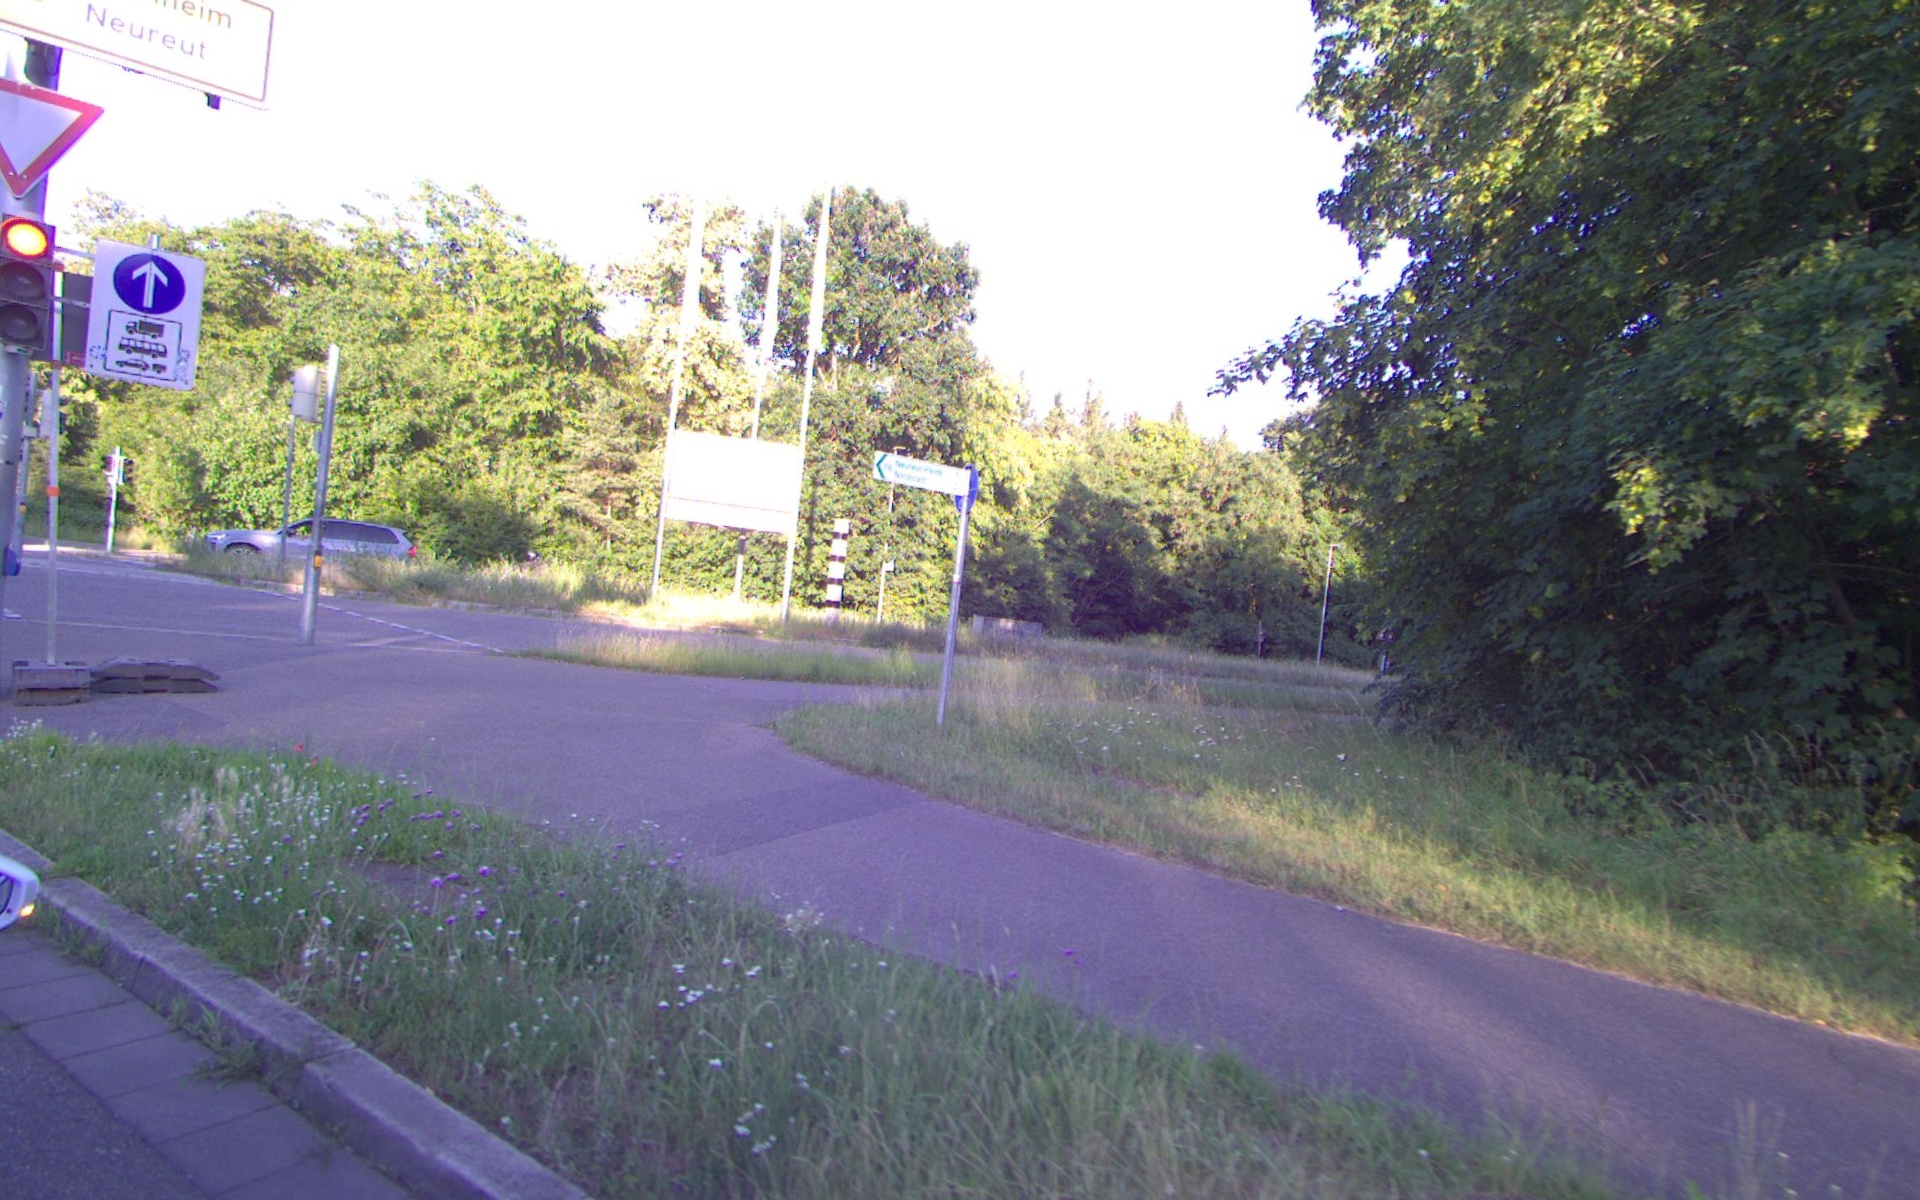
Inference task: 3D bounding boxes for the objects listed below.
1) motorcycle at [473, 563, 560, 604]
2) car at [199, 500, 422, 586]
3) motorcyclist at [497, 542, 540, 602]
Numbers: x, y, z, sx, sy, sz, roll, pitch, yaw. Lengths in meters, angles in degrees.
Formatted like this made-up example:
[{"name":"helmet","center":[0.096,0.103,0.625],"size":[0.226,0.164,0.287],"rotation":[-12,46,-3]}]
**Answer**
[{"name":"motorcycle","center":[-12.834,-0.470,29.137],"size":[2.132,0.921,0.656],"rotation":[7,0,-37]},{"name":"car","center":[-17.357,-1.484,27.043],"size":[4.790,1.618,1.980],"rotation":[7,0,-37]},{"name":"motorcyclist","center":[-12.786,-0.810,29.133],"size":[0.881,1.614,0.648],"rotation":[6,1,-37]}]
